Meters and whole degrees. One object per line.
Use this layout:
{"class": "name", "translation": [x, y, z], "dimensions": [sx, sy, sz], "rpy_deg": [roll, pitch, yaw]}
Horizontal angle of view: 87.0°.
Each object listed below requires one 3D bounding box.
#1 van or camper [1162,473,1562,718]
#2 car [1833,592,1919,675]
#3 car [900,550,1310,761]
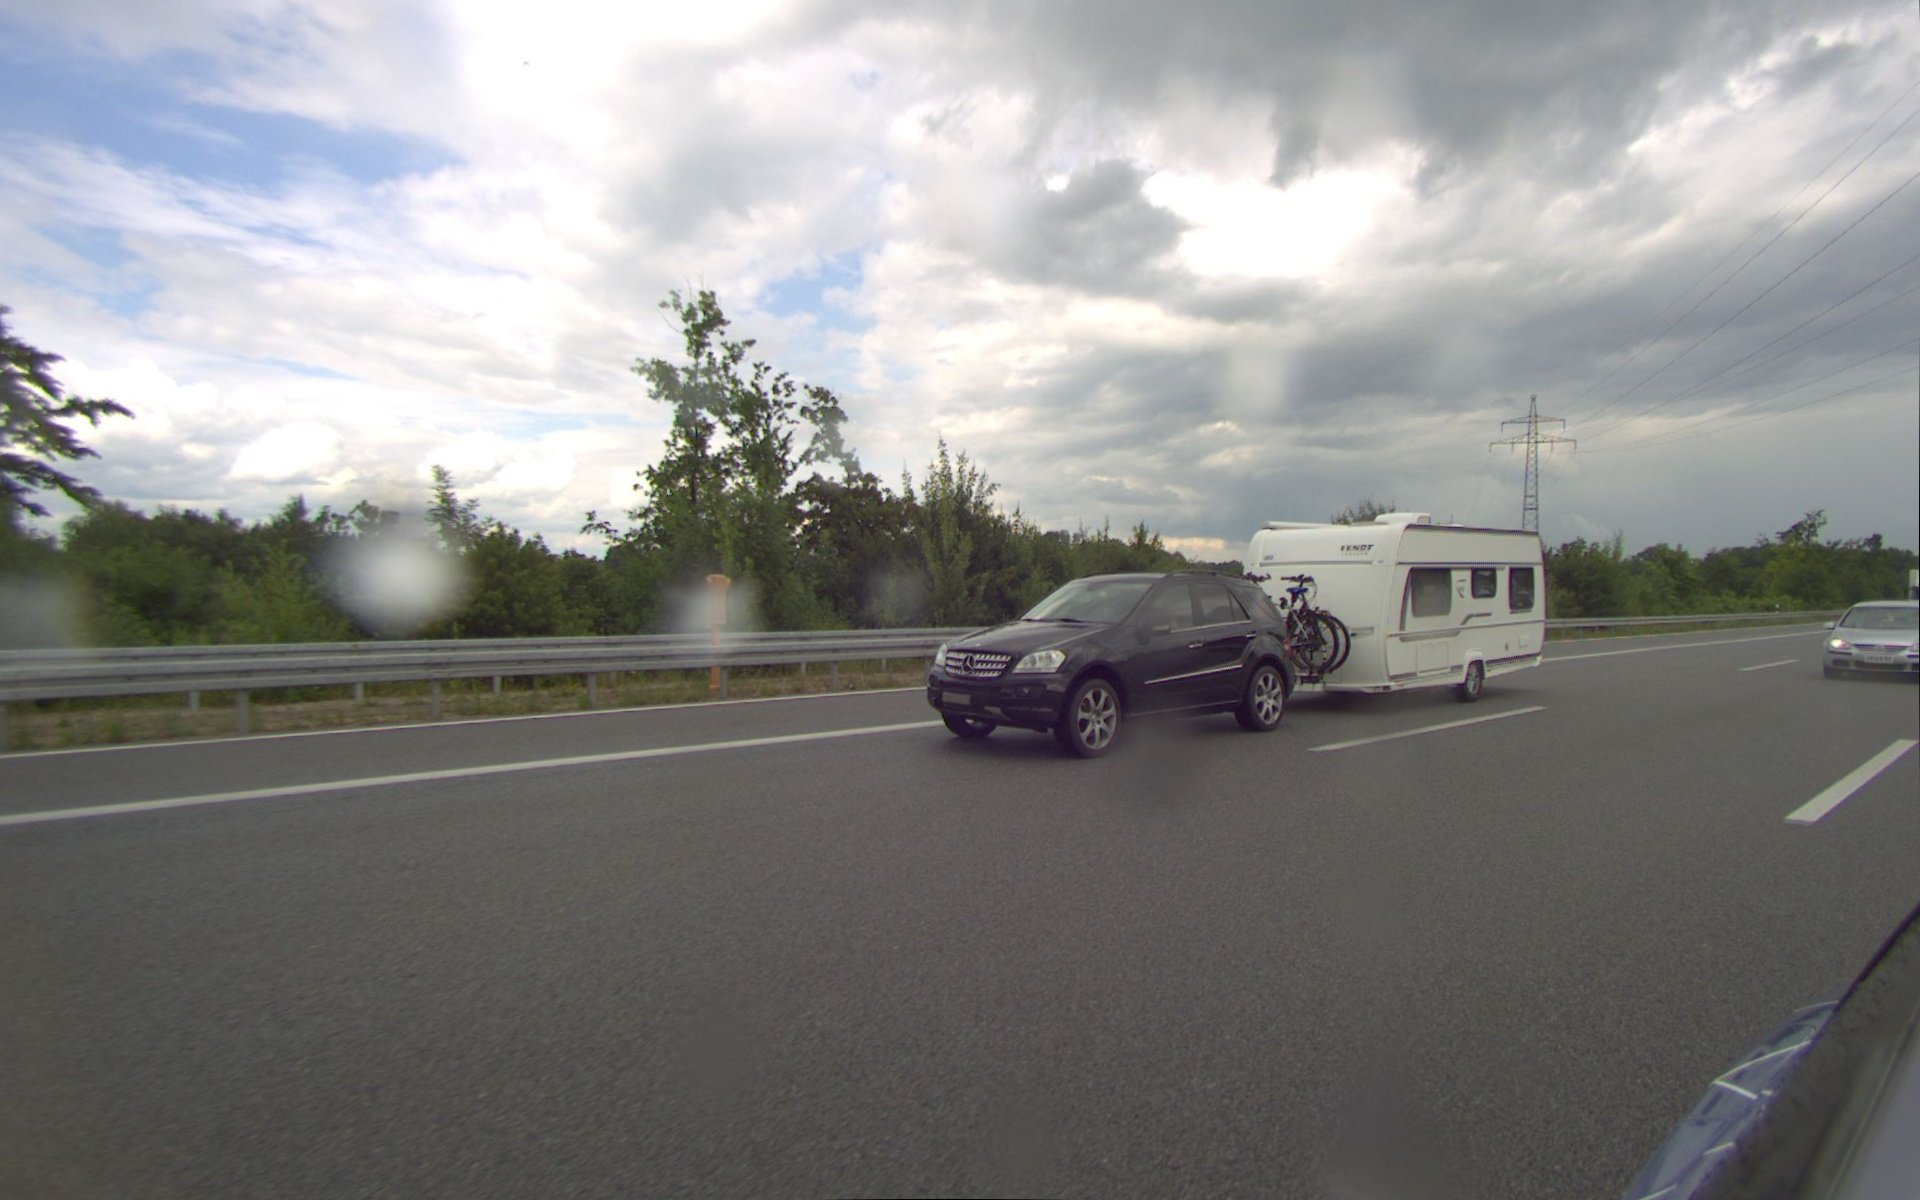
{"class": "van or camper", "translation": [6.115, -0.066, 14.703], "dimensions": [7.082, 2.773, 2.388], "rpy_deg": [0, 0, -41]}
{"class": "car", "translation": [18.142, 0.580, 19.316], "dimensions": [3.930, 1.464, 1.682], "rpy_deg": [0, 0, -41]}
{"class": "car", "translation": [1.695, 0.451, 10.811], "dimensions": [4.423, 1.798, 1.923], "rpy_deg": [0, 0, -41]}
